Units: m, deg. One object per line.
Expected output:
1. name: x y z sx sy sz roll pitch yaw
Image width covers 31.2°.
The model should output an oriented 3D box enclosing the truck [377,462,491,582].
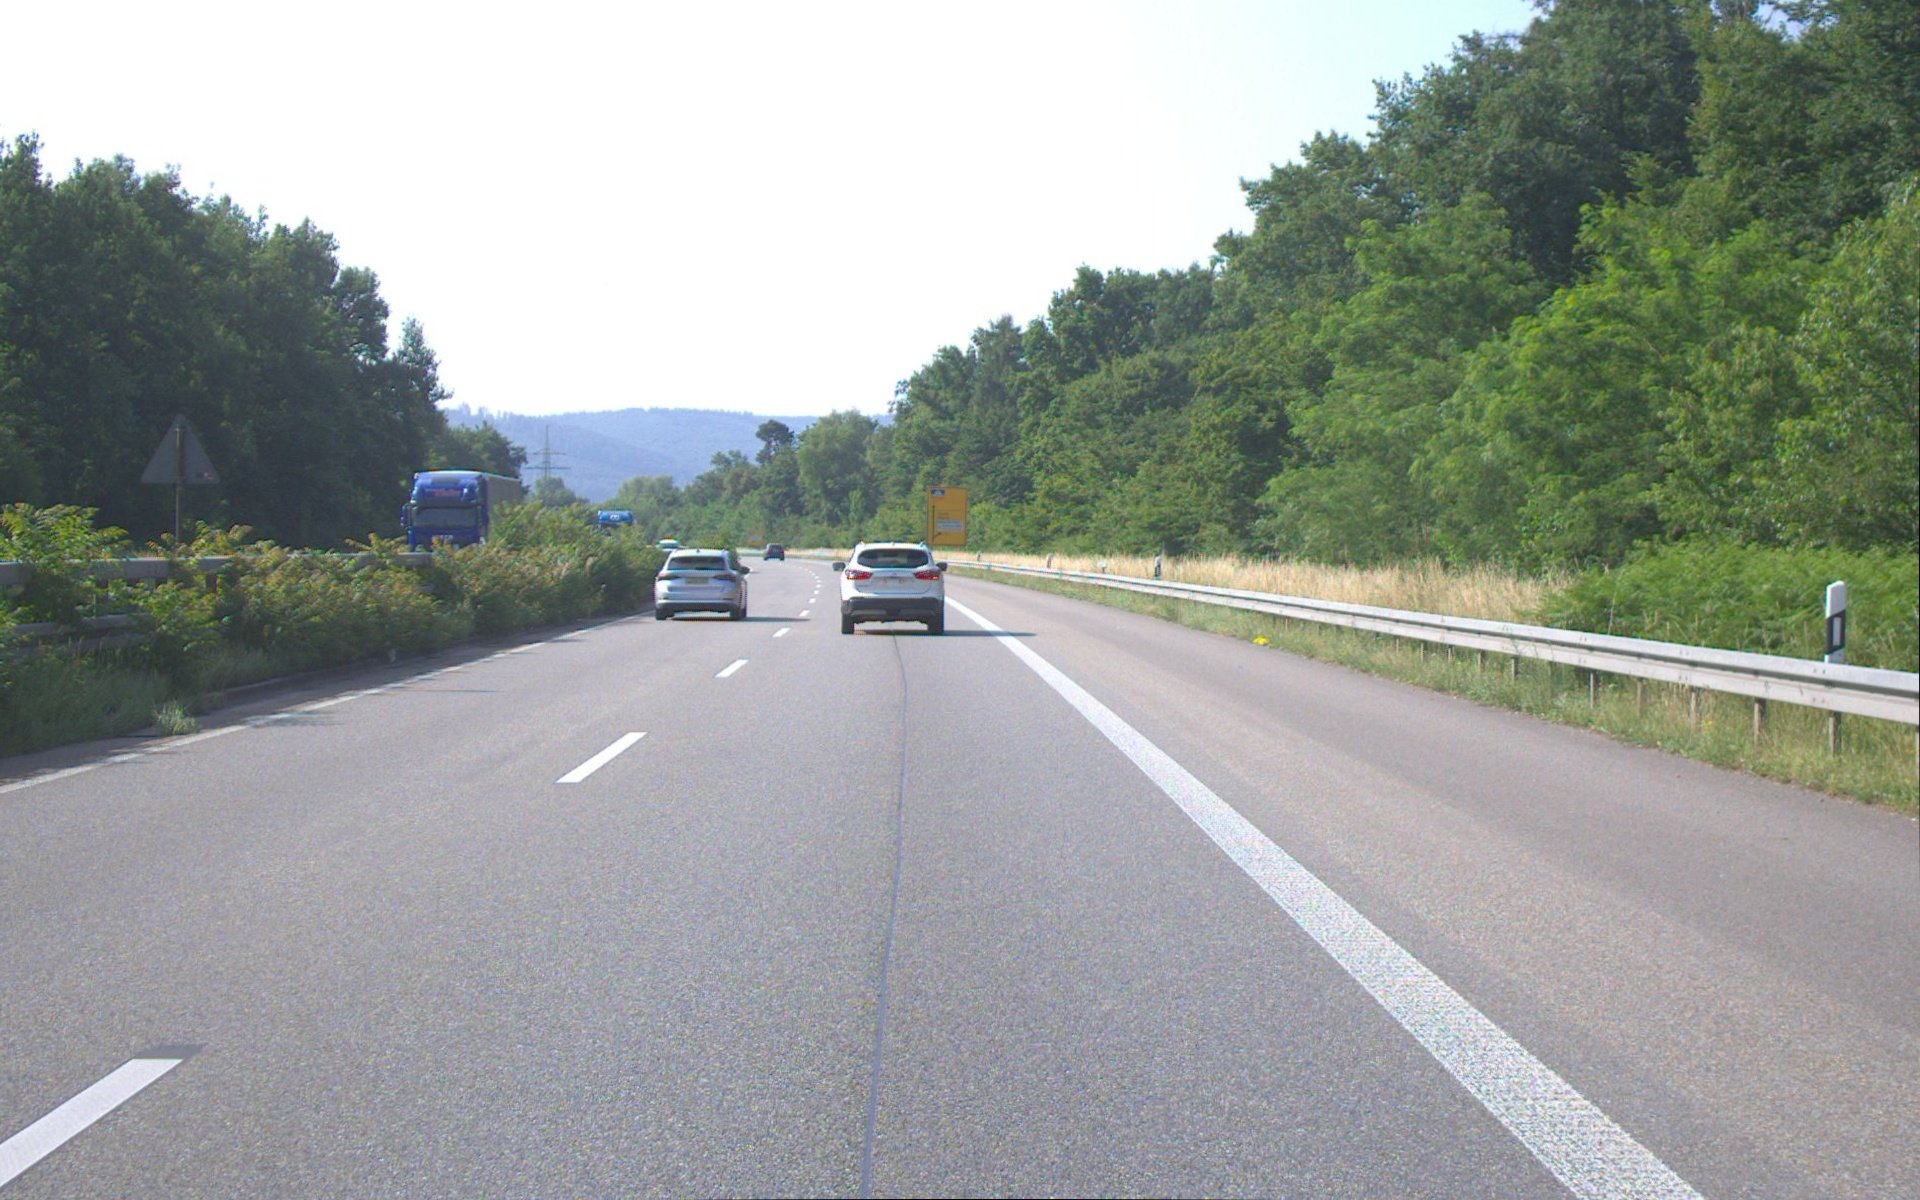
1. truck: -18.072 -2.673 118.599 2.784 3.985 8.417 0 1 -1

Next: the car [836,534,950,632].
1. car: -1.185 -0.332 60.633 1.873 1.580 4.000 2 1 -1

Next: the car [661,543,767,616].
1. car: -5.121 -0.456 72.138 1.792 1.433 5.278 0 1 1

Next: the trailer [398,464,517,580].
1. trailer: -18.162 -2.799 124.905 2.831 3.985 11.435 0 1 -1
